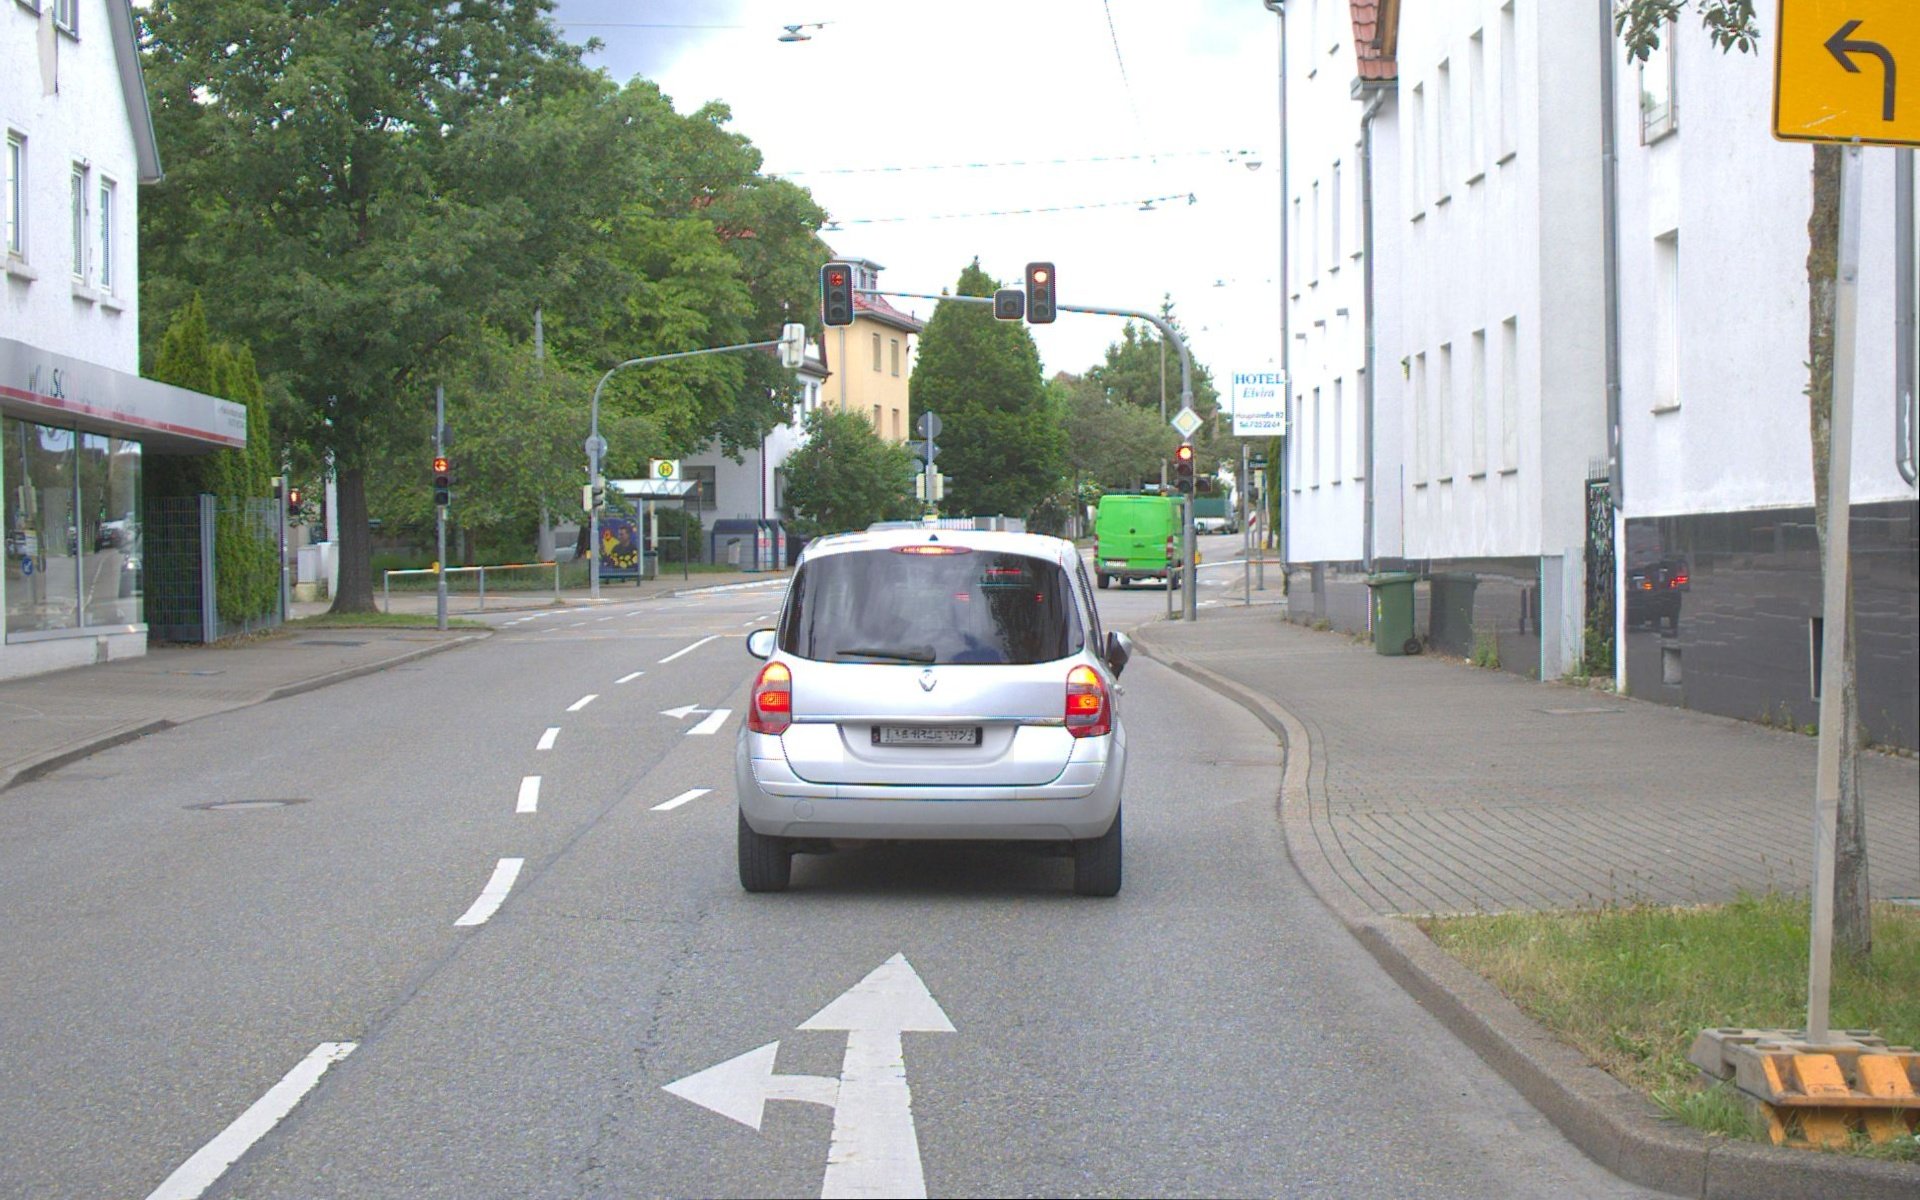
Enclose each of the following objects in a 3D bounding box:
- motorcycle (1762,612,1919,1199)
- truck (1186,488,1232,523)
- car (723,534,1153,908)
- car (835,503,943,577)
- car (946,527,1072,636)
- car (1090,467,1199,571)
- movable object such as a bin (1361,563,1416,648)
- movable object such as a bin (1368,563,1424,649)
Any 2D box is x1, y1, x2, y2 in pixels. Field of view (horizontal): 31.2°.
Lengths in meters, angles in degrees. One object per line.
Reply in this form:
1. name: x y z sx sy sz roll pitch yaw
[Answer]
1. motorcycle: 2.523 0.731 5.919 0.773 1.377 2.243 0 1 -37
2. truck: 14.732 -5.589 202.976 2.102 2.007 5.745 0 1 10
3. car: -0.086 0.462 16.099 1.755 1.525 4.000 0 1 0
4. car: -1.847 -1.609 90.994 1.927 1.767 3.998 -4 1 11
5. car: 0.694 -0.296 50.214 1.755 1.525 3.797 0 1 0
6. car: 4.619 -1.990 85.385 2.060 2.503 5.593 0 1 10
7. movable object such as a bin: 4.924 0.059 39.521 0.540 0.938 0.487 -3 1 1
8. movable object such as a bin: 4.944 0.069 38.985 0.540 0.938 0.487 -3 1 1
